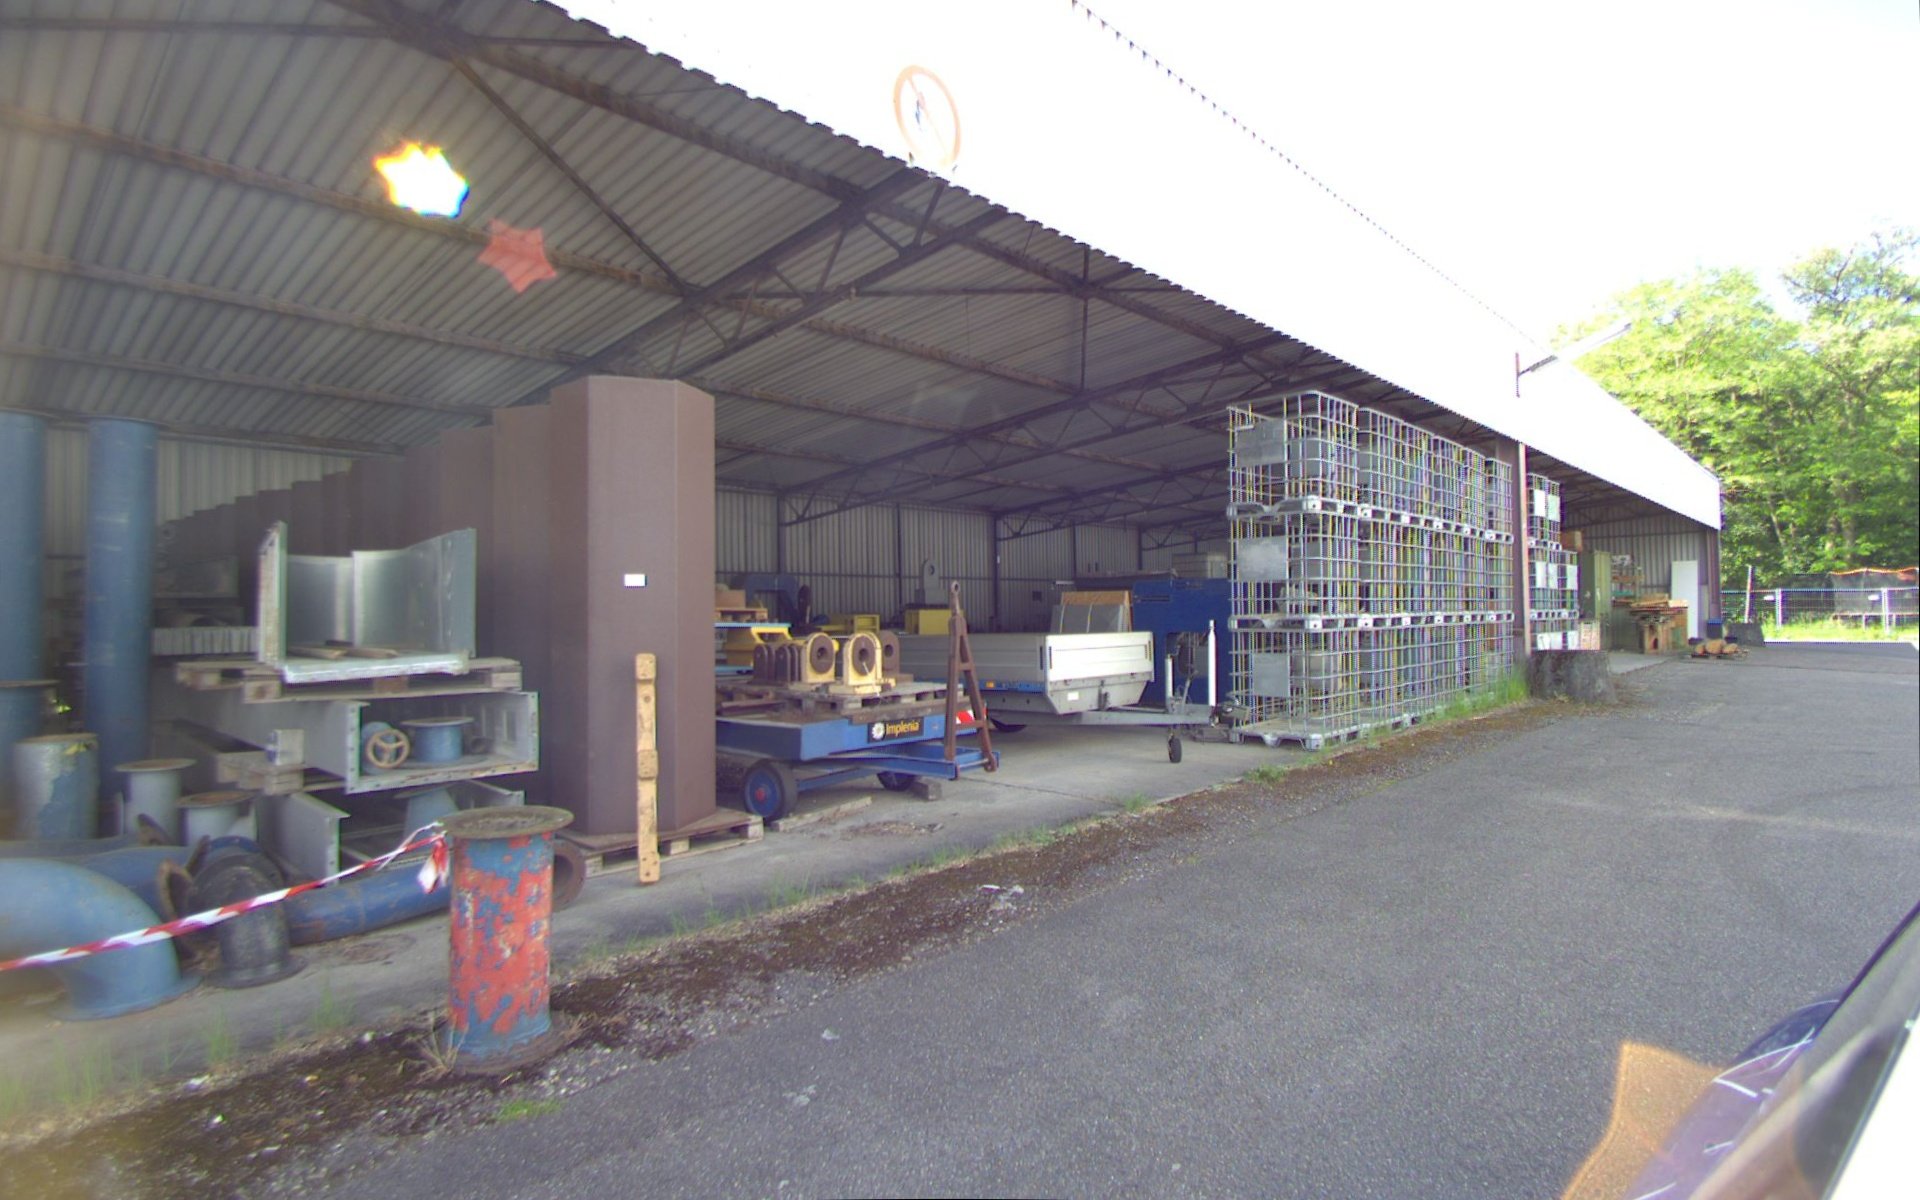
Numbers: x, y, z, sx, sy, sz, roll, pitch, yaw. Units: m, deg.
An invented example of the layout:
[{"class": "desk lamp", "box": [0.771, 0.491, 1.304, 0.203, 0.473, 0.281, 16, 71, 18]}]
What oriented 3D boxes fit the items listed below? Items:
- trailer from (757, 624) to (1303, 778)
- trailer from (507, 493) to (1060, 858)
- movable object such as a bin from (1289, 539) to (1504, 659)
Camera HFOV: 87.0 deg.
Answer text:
[{"class": "trailer", "box": [0.408, 0.852, 10.588, 5.729, 1.147, 1.978, -1, -1, 42]}, {"class": "trailer", "box": [-1.694, 0.406, 8.063, 2.013, 2.022, 4.821, 0, 0, -44]}, {"class": "movable object such as a bin", "box": [10.920, -0.010, 25.506, 4.611, 2.757, 1.970, 0, -1, 42]}]
